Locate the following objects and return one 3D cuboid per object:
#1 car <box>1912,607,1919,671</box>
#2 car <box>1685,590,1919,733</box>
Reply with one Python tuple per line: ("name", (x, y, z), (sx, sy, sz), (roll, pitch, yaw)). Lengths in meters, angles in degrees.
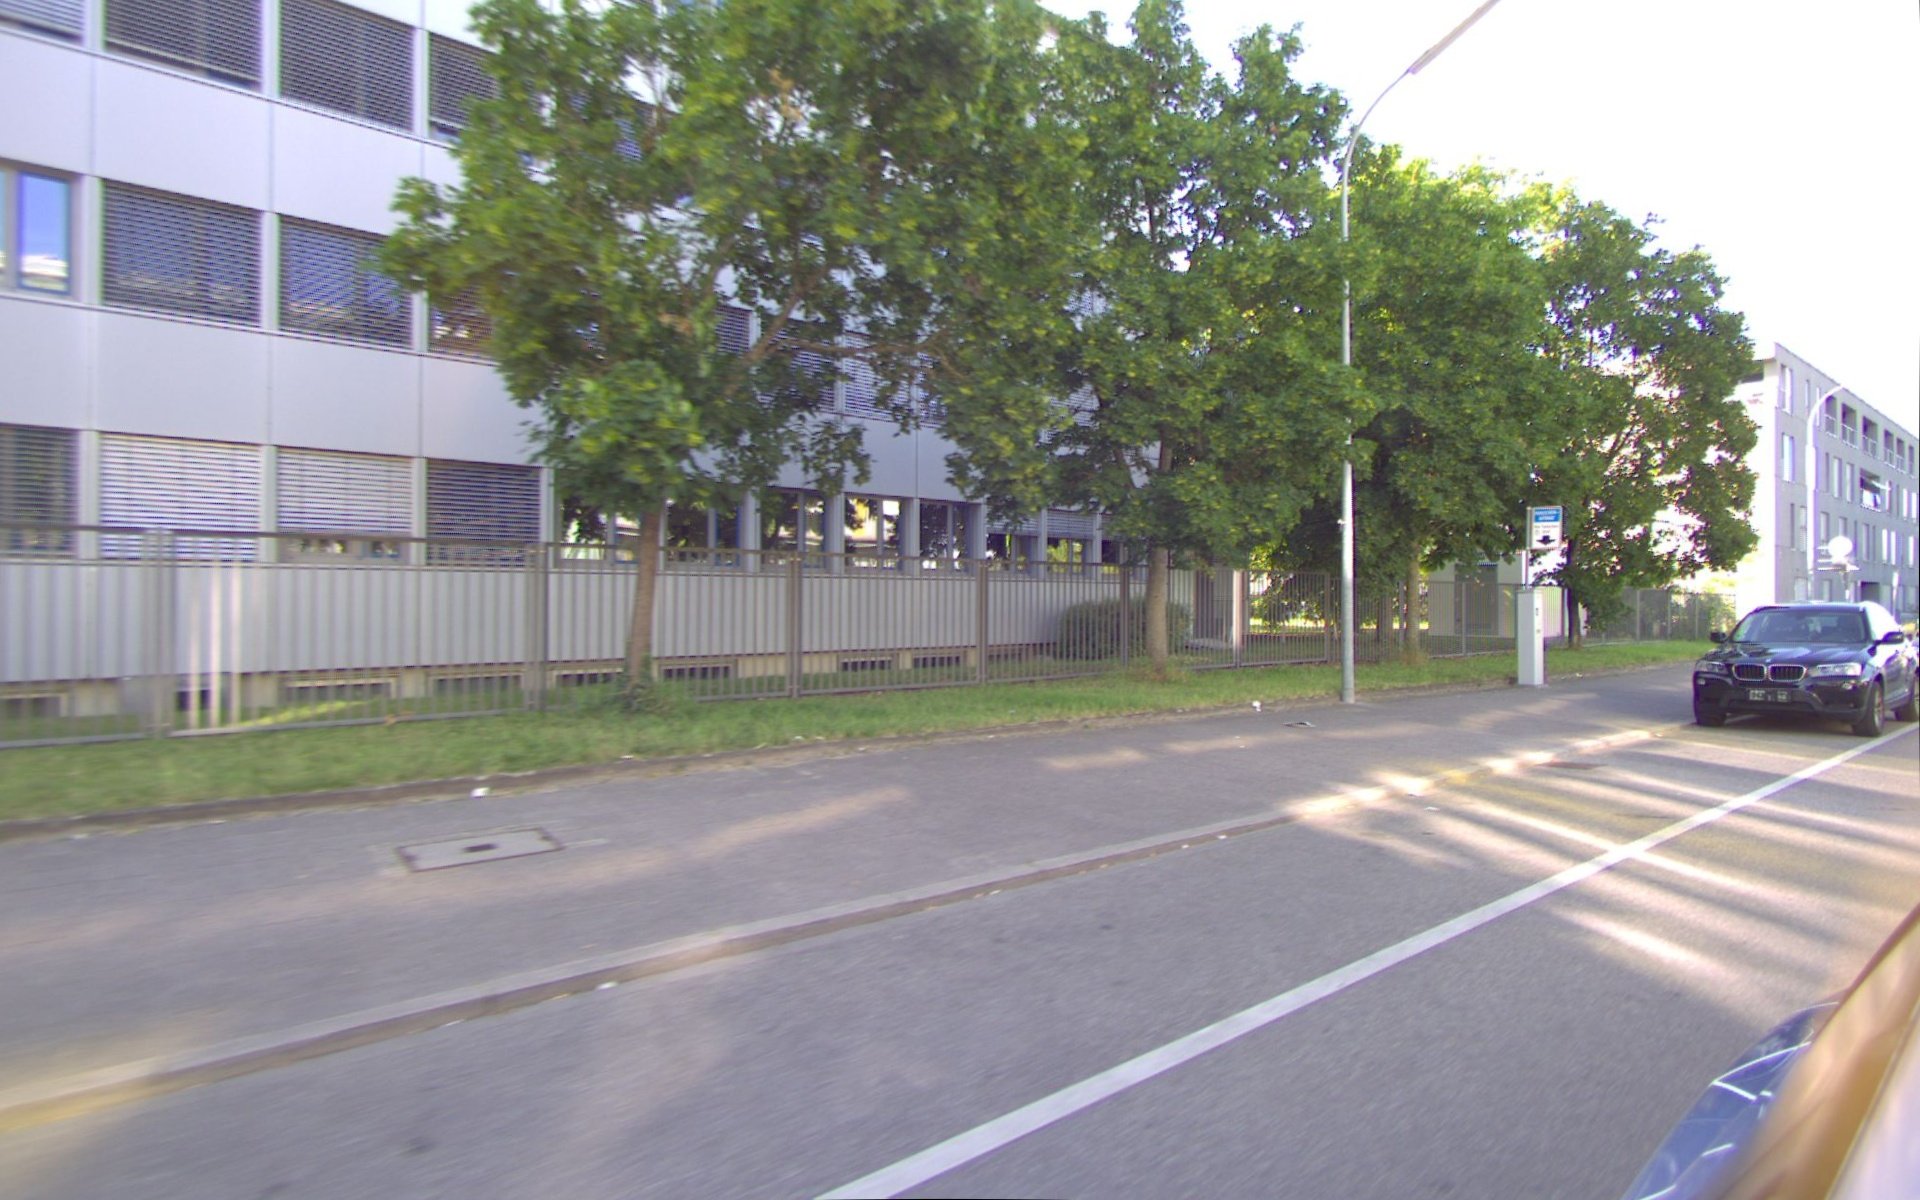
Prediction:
("car", (24.143, 0.881, 23.932), (4.217, 1.462, 1.823), (0, -2, -39))
("car", (11.646, 0.729, 13.718), (4.217, 1.646, 1.889), (0, -2, -39))
